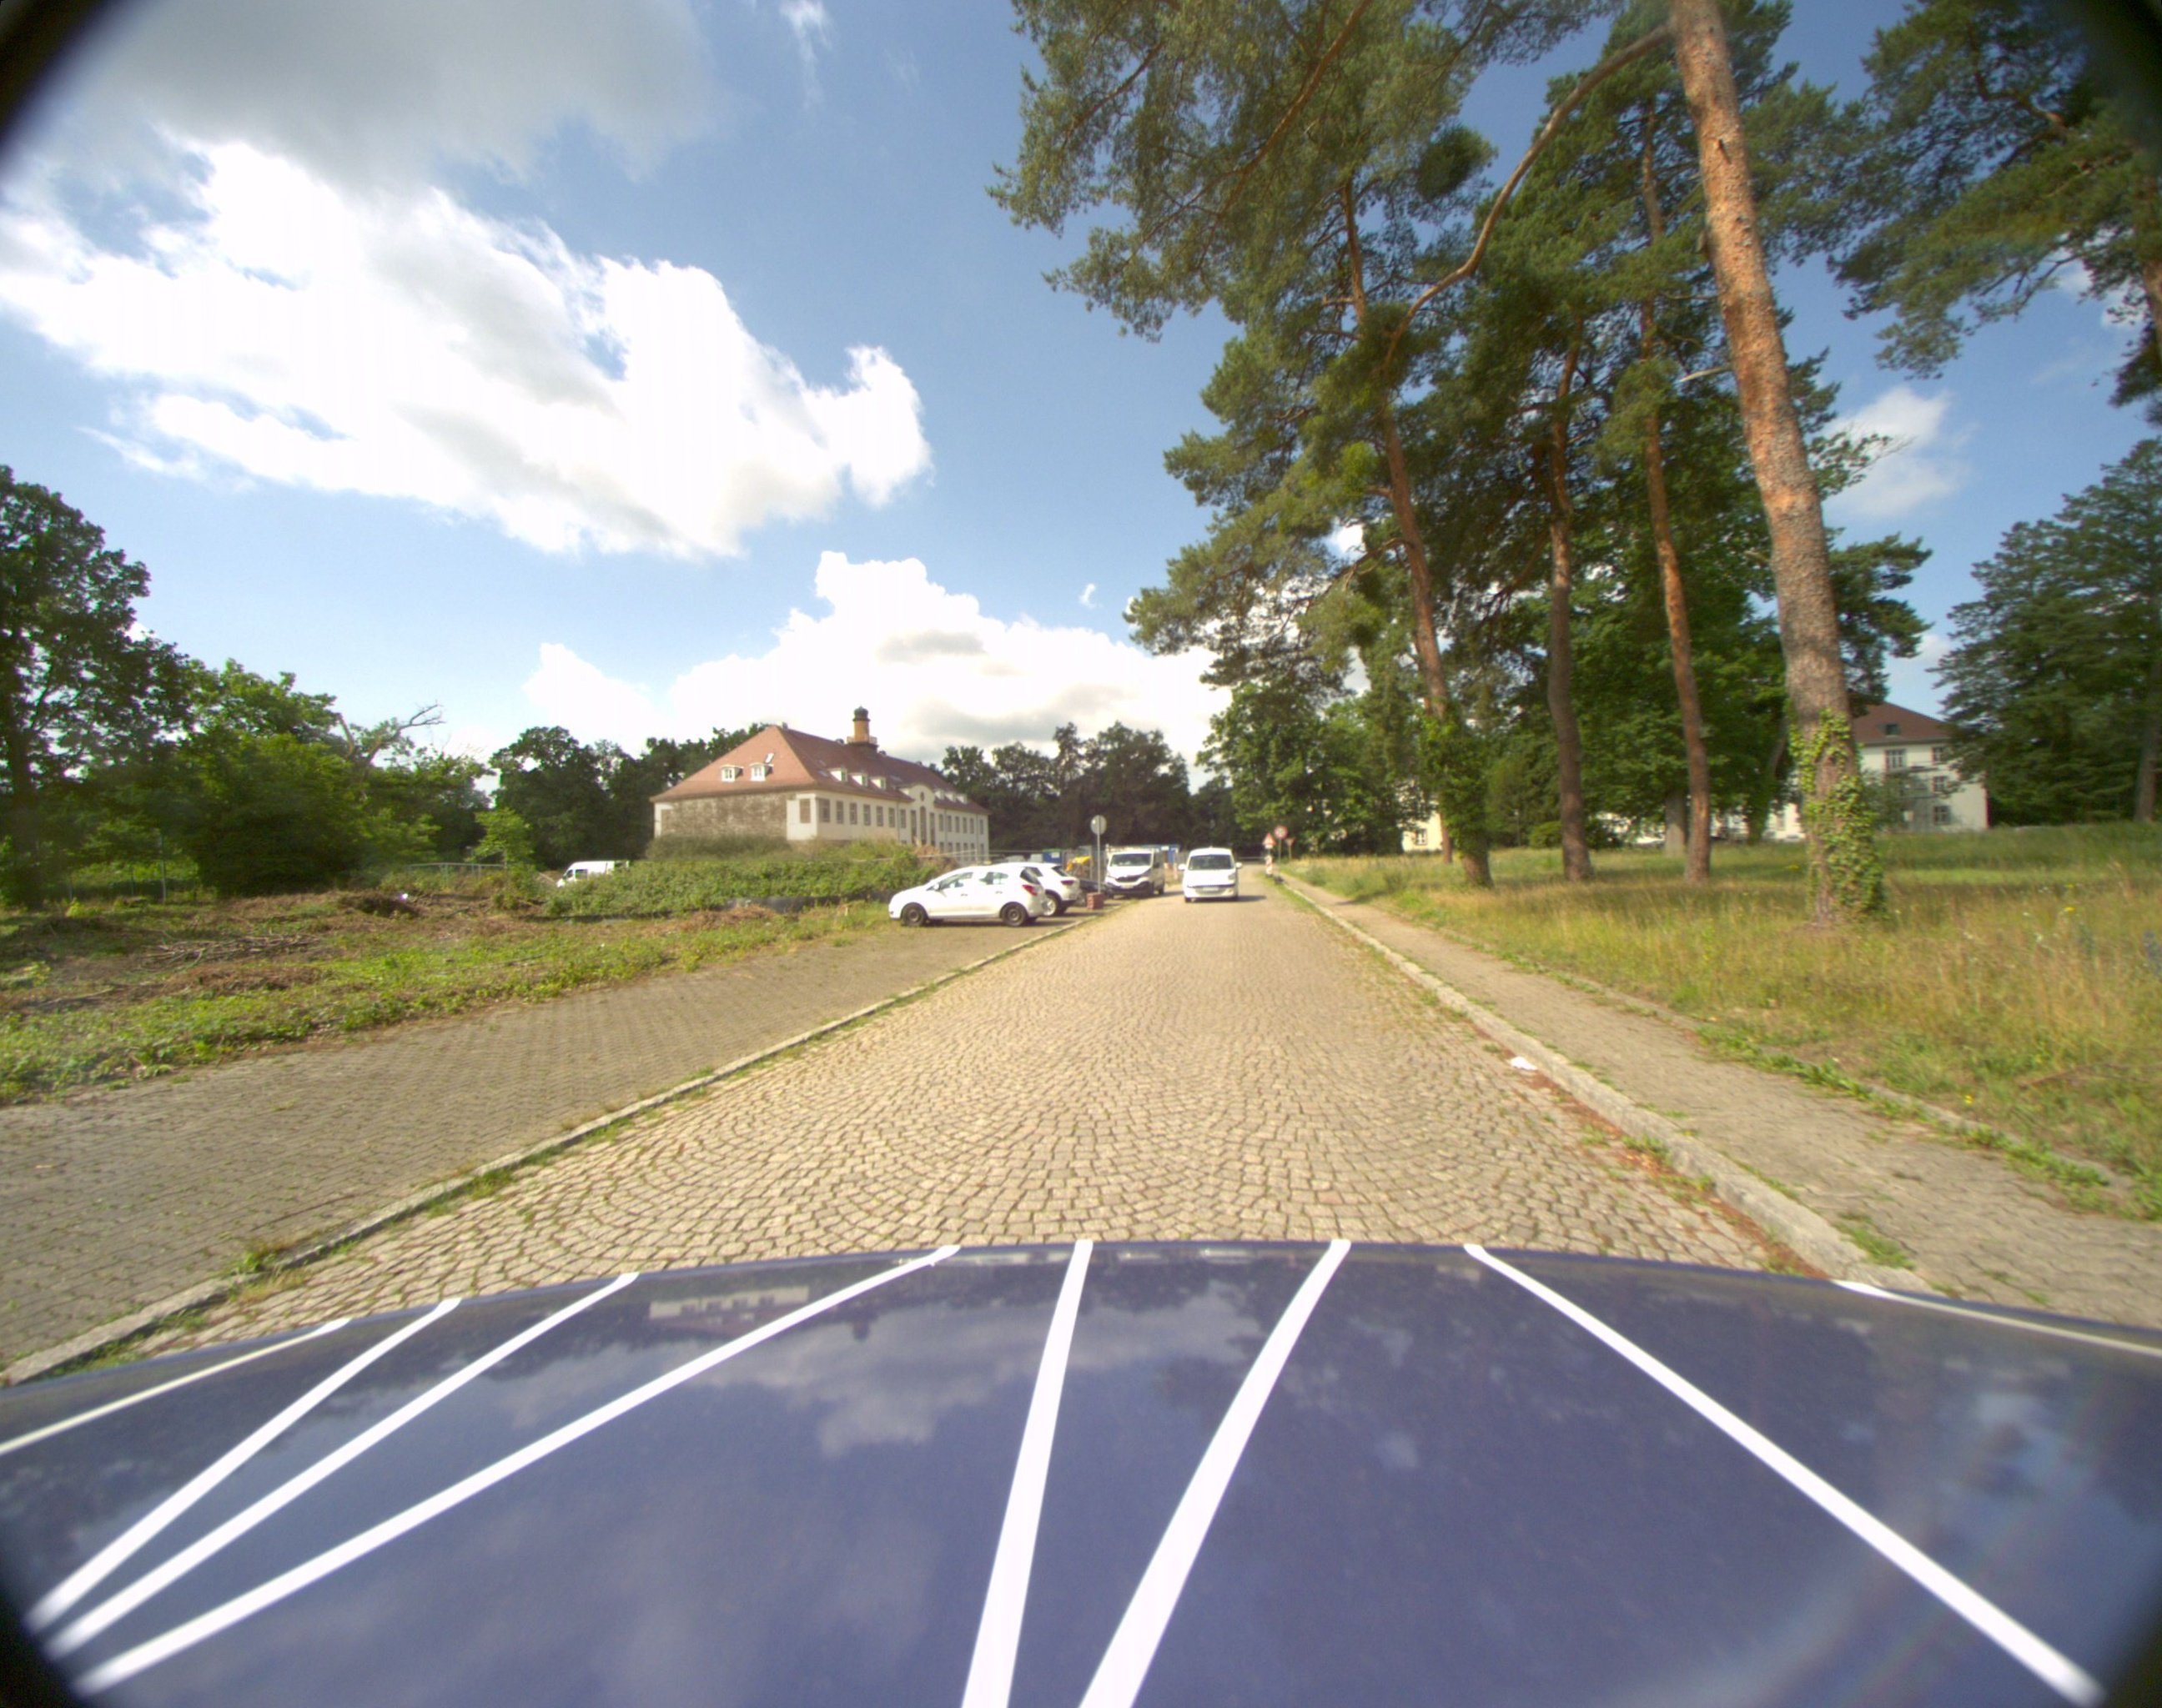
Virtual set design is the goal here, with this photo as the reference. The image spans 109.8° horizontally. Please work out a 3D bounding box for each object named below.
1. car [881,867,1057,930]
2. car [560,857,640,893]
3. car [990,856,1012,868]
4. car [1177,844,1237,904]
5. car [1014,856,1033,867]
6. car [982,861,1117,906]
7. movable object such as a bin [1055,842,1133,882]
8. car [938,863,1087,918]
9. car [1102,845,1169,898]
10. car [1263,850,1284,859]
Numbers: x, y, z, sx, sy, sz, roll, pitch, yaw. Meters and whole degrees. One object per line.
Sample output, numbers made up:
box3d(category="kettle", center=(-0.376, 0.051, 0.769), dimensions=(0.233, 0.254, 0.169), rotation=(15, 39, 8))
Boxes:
box3d(category="car", center=(-2.767, 1.082, 19.196), dimensions=(4.049, 1.455, 1.705), rotation=(0, 0, 9))
box3d(category="car", center=(-36.786, 1.575, 58.139), dimensions=(5.426, 2.576, 2.250), rotation=(-1, 0, 20))
box3d(category="car", center=(-12.334, 1.182, 117.487), dimensions=(1.882, 1.718, 4.712), rotation=(-1, 0, 13))
box3d(category="car", center=(4.497, 0.643, 26.599), dimensions=(1.837, 1.857, 4.835), rotation=(-2, -1, 12))
box3d(category="car", center=(-8.862, 1.112, 117.035), dimensions=(1.800, 1.673, 4.043), rotation=(-1, 0, 13))
box3d(category="car", center=(-1.034, 1.010, 26.558), dimensions=(4.462, 1.466, 1.746), rotation=(0, 0, 8))
box3d(category="movable object such as a bin", center=(0.967, 0.532, 51.342), dimensions=(2.143, 2.507, 5.668), rotation=(-1, -1, 40))
box3d(category="car", center=(-1.950, 1.031, 22.131), dimensions=(3.994, 1.498, 1.748), rotation=(0, 0, 9))
box3d(category="car", center=(2.408, 0.666, 32.192), dimensions=(1.917, 2.041, 5.684), rotation=(-1, 0, 13))
box3d(category="car", center=(39.355, 0.142, 155.671), dimensions=(4.080, 1.634, 1.768), rotation=(-1, 0, 11))
